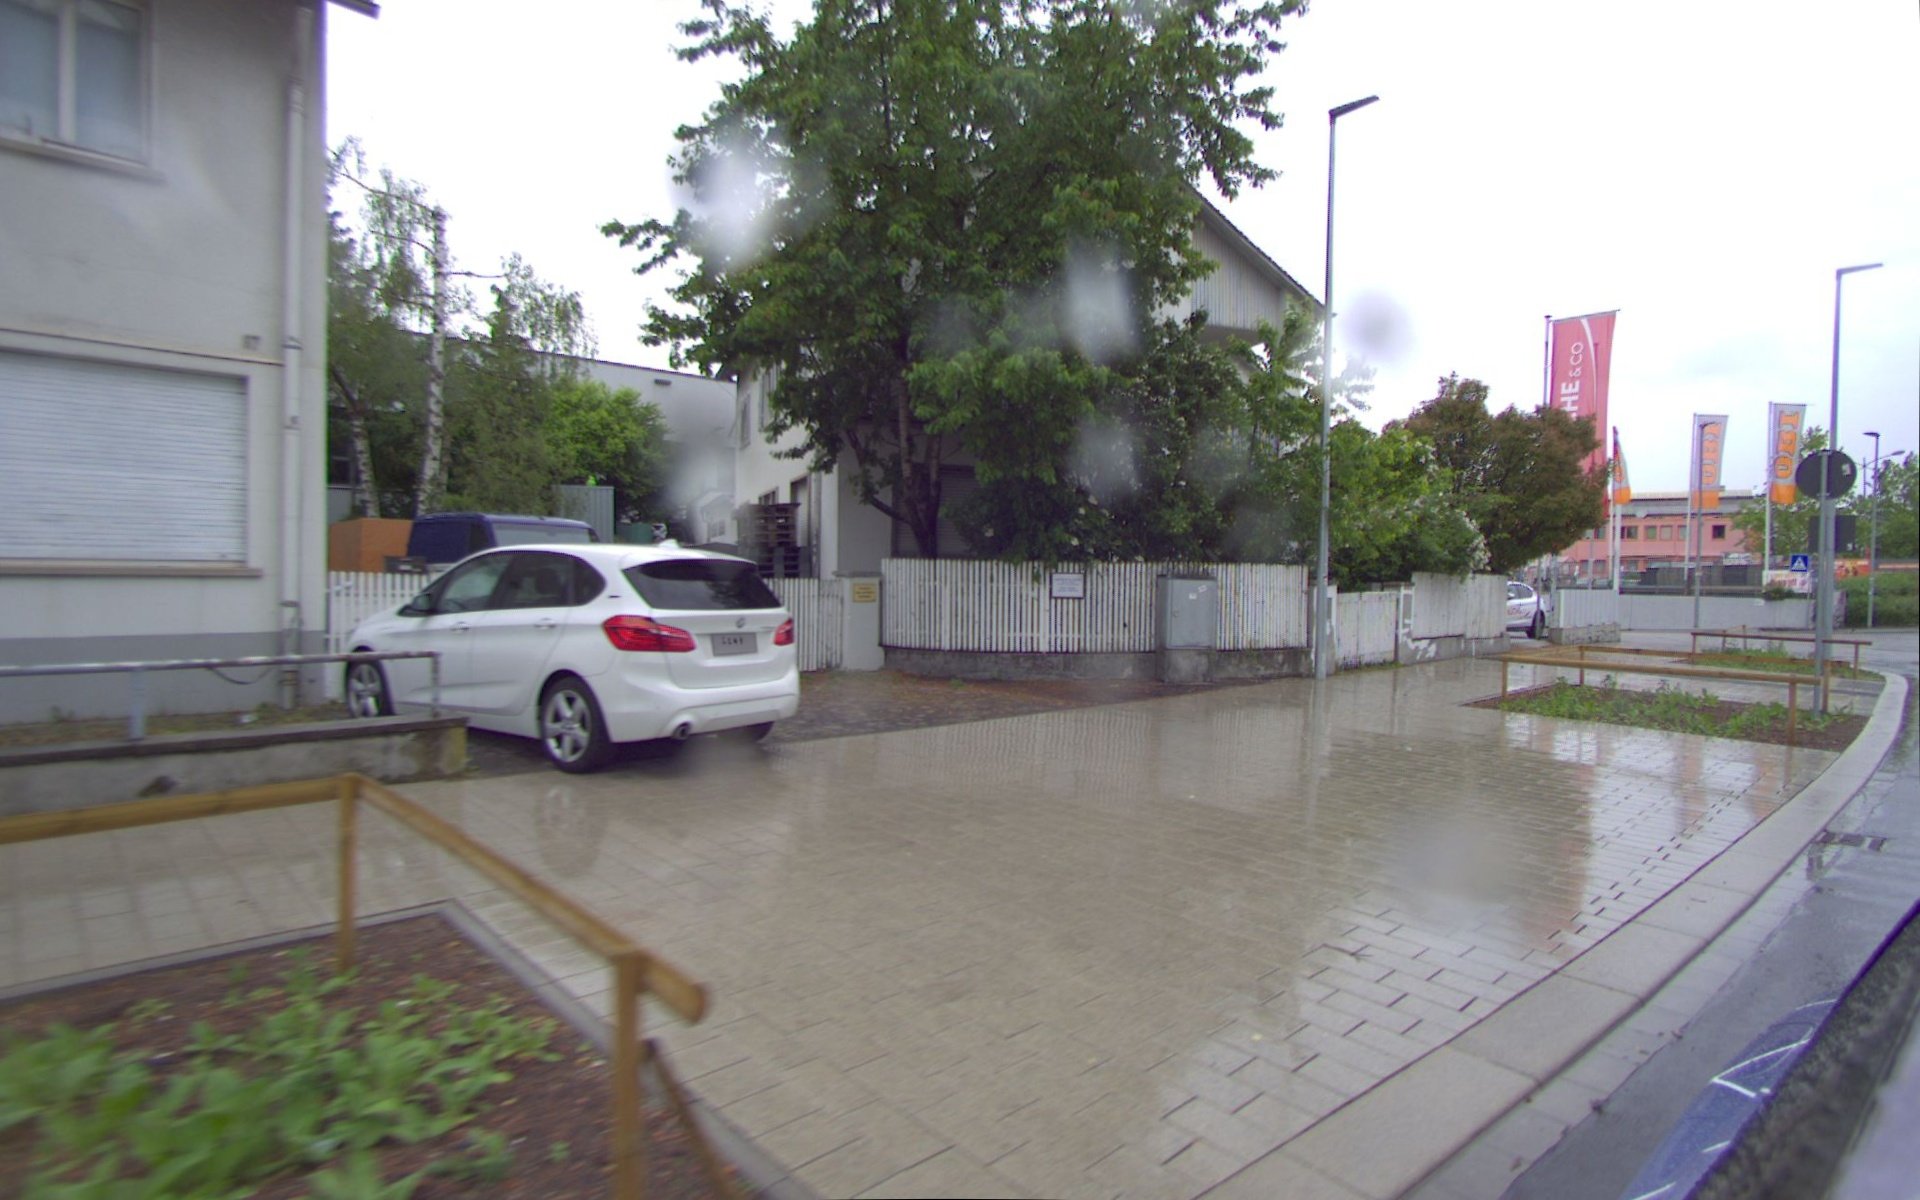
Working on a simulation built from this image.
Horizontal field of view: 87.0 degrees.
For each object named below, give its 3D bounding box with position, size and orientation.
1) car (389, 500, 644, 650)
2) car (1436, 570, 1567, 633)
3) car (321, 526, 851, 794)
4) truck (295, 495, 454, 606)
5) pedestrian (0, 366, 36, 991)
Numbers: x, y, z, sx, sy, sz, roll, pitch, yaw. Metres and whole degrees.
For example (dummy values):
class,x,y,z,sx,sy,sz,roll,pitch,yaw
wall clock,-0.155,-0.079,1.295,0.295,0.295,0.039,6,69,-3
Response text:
class,x,y,z,sx,sy,sz,roll,pitch,yaw
car,-7.257,-0.461,16.293,4.844,2.045,2.088,4,2,44
car,15.876,0.048,29.605,4.093,1.712,1.846,1,1,-37
car,-3.111,0.278,8.186,4.114,1.600,1.976,3,2,34
truck,-11.986,-0.928,20.602,3.984,1.861,1.690,-4,-1,43
pedestrian,-3.772,0.245,3.237,1.175,2.038,0.860,0,3,-45
